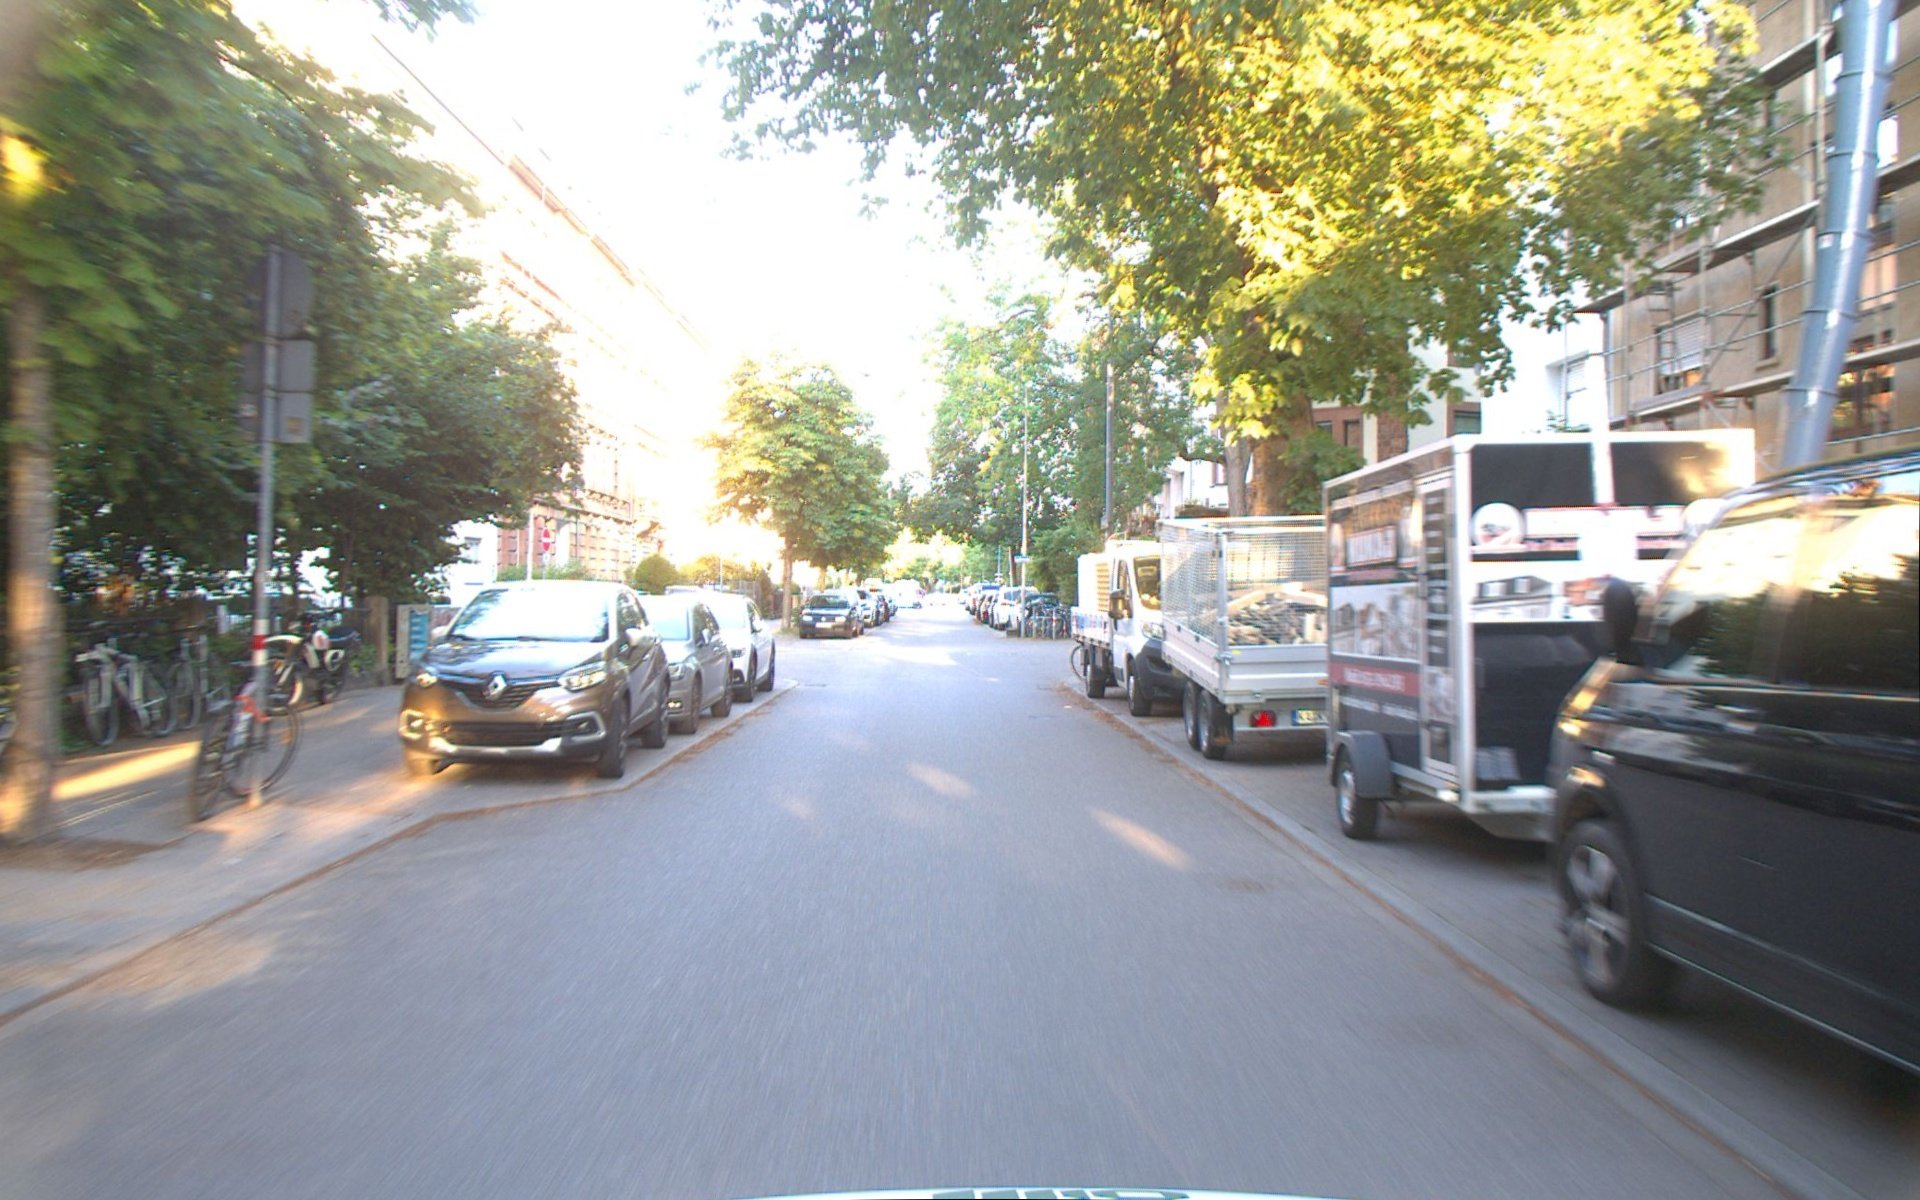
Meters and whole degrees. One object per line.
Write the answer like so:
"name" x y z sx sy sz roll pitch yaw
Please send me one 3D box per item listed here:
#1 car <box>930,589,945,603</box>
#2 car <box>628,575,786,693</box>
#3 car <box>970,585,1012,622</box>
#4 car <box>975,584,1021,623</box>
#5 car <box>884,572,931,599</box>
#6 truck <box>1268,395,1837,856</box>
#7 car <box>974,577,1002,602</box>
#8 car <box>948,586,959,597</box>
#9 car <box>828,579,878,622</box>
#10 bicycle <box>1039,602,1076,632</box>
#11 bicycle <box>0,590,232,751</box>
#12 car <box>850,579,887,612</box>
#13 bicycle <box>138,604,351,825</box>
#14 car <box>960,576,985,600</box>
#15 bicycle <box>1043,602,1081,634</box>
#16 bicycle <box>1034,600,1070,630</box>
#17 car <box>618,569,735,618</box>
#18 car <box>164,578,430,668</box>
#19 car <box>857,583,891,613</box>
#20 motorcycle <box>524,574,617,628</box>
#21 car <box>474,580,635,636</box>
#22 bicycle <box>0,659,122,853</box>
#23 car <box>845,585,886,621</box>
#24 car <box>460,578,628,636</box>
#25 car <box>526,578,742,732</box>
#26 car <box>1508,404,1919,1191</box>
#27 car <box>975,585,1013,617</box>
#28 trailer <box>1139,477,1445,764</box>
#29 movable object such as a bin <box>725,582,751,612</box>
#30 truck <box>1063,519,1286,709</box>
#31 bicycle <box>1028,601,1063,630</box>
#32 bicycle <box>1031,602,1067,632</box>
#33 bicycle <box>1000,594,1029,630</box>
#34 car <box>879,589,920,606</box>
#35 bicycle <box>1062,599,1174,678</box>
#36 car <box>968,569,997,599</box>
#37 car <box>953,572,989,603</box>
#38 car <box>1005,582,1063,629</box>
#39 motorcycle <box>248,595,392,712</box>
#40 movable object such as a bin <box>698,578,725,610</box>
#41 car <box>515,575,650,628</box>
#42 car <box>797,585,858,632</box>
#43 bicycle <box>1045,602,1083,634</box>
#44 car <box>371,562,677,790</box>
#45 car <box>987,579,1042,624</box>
"car" -2.810 -0.507 206.670 1.776 1.624 3.482 1 1 -1
"car" -3.706 0.431 24.926 1.655 1.528 4.737 3 1 -1
"car" 1.413 0.146 76.128 1.653 1.634 3.746 1 0 -3
"car" 1.628 0.137 71.764 1.653 1.634 4.207 1 0 -3
"car" -4.811 -1.331 151.837 4.263 2.358 1.745 1 0 -3
"truck" 3.486 0.082 10.824 1.914 2.285 4.644 -2 1 -1
"car" 1.768 -0.684 105.623 1.508 1.548 3.429 1 0 -3
"car" -1.000 -1.278 248.888 1.681 1.624 3.482 1 1 -1
"car" -4.545 -0.005 70.695 1.882 1.747 4.427 1 1 -1
"bicycle" 3.244 0.558 54.837 1.205 0.980 0.329 -1 1 -18
"bicycle" -7.725 0.576 14.908 0.593 1.307 2.487 0 0 19
"car" -4.521 -0.260 82.474 1.681 1.593 3.787 1 1 -1
"bicycle" -4.697 0.697 11.000 0.472 1.277 1.900 4 1 2
"car" 0.970 -0.955 130.150 1.653 1.843 3.937 1 0 -3
"bicycle" 3.328 0.587 53.927 1.199 1.004 0.330 -1 1 -3
"bicycle" 3.077 0.484 55.234 1.207 0.974 0.328 -1 1 -23
"car" -10.513 -0.238 61.579 4.011 1.554 1.708 3 0 -2
"car" -12.406 0.403 31.219 4.372 1.579 1.705 0 2 -11
"car" -4.738 -0.131 91.264 1.681 1.624 4.518 1 0 -1
"motorcycle" -12.265 0.023 52.137 2.791 1.667 0.675 0 0 7
"car" -11.396 0.195 46.569 4.005 1.472 1.819 1 1 9
"bicycle" -5.250 0.850 9.009 0.407 0.945 1.735 3 1 2
"car" -4.289 0.129 75.123 1.681 1.594 3.780 1 0 -1
"car" -11.116 0.167 44.318 4.005 1.472 1.711 1 1 8
"car" -3.602 0.561 19.023 1.655 1.528 4.401 1 0 -1
"car" 3.272 0.458 4.561 1.802 1.976 4.612 -2 1 -2
"car" 1.645 0.038 81.055 1.652 1.466 4.208 -2 0 -1
"trailer" 3.055 0.143 16.262 1.914 2.335 4.644 -2 1 -1
"movable object such as a bin" -10.392 -0.149 77.412 0.991 1.344 1.005 2 1 4
"truck" 2.806 0.162 23.344 1.938 2.284 6.772 0 0 -3
"bicycle" 2.909 0.529 56.545 1.210 0.968 0.327 -1 2 -29
"bicycle" 2.997 0.573 55.934 1.207 0.964 0.328 -1 1 -23
"bicycle" 1.874 0.402 56.747 0.434 1.193 1.635 0 0 24
"car" -5.465 -0.223 149.110 3.547 1.487 1.605 1 1 -5
"bicycle" 2.759 0.666 28.912 1.866 1.280 0.406 -2 0 -7
"car" 1.474 -1.049 109.483 1.647 1.975 3.878 1 0 -3
"car" 0.557 -0.666 89.080 1.653 1.634 3.937 1 0 -3
"car" 2.663 0.172 60.068 1.654 1.620 3.655 0 1 -5
"motorcycle" -7.511 0.586 19.567 0.570 1.176 2.891 3 2 -1
"movable object such as a bin" -11.598 -0.287 77.220 1.078 1.439 1.001 2 1 -15
"car" -11.190 0.034 49.164 3.487 1.472 1.819 1 1 8
"car" -4.356 0.249 54.695 1.583 1.496 3.962 1 1 2
"bicycle" 3.416 0.582 54.297 1.200 1.005 0.330 -1 1 -5
"car" -3.547 0.522 14.258 1.656 1.590 4.399 3 1 -4
"car" 2.121 0.046 65.847 1.762 1.741 4.598 0 0 -3
